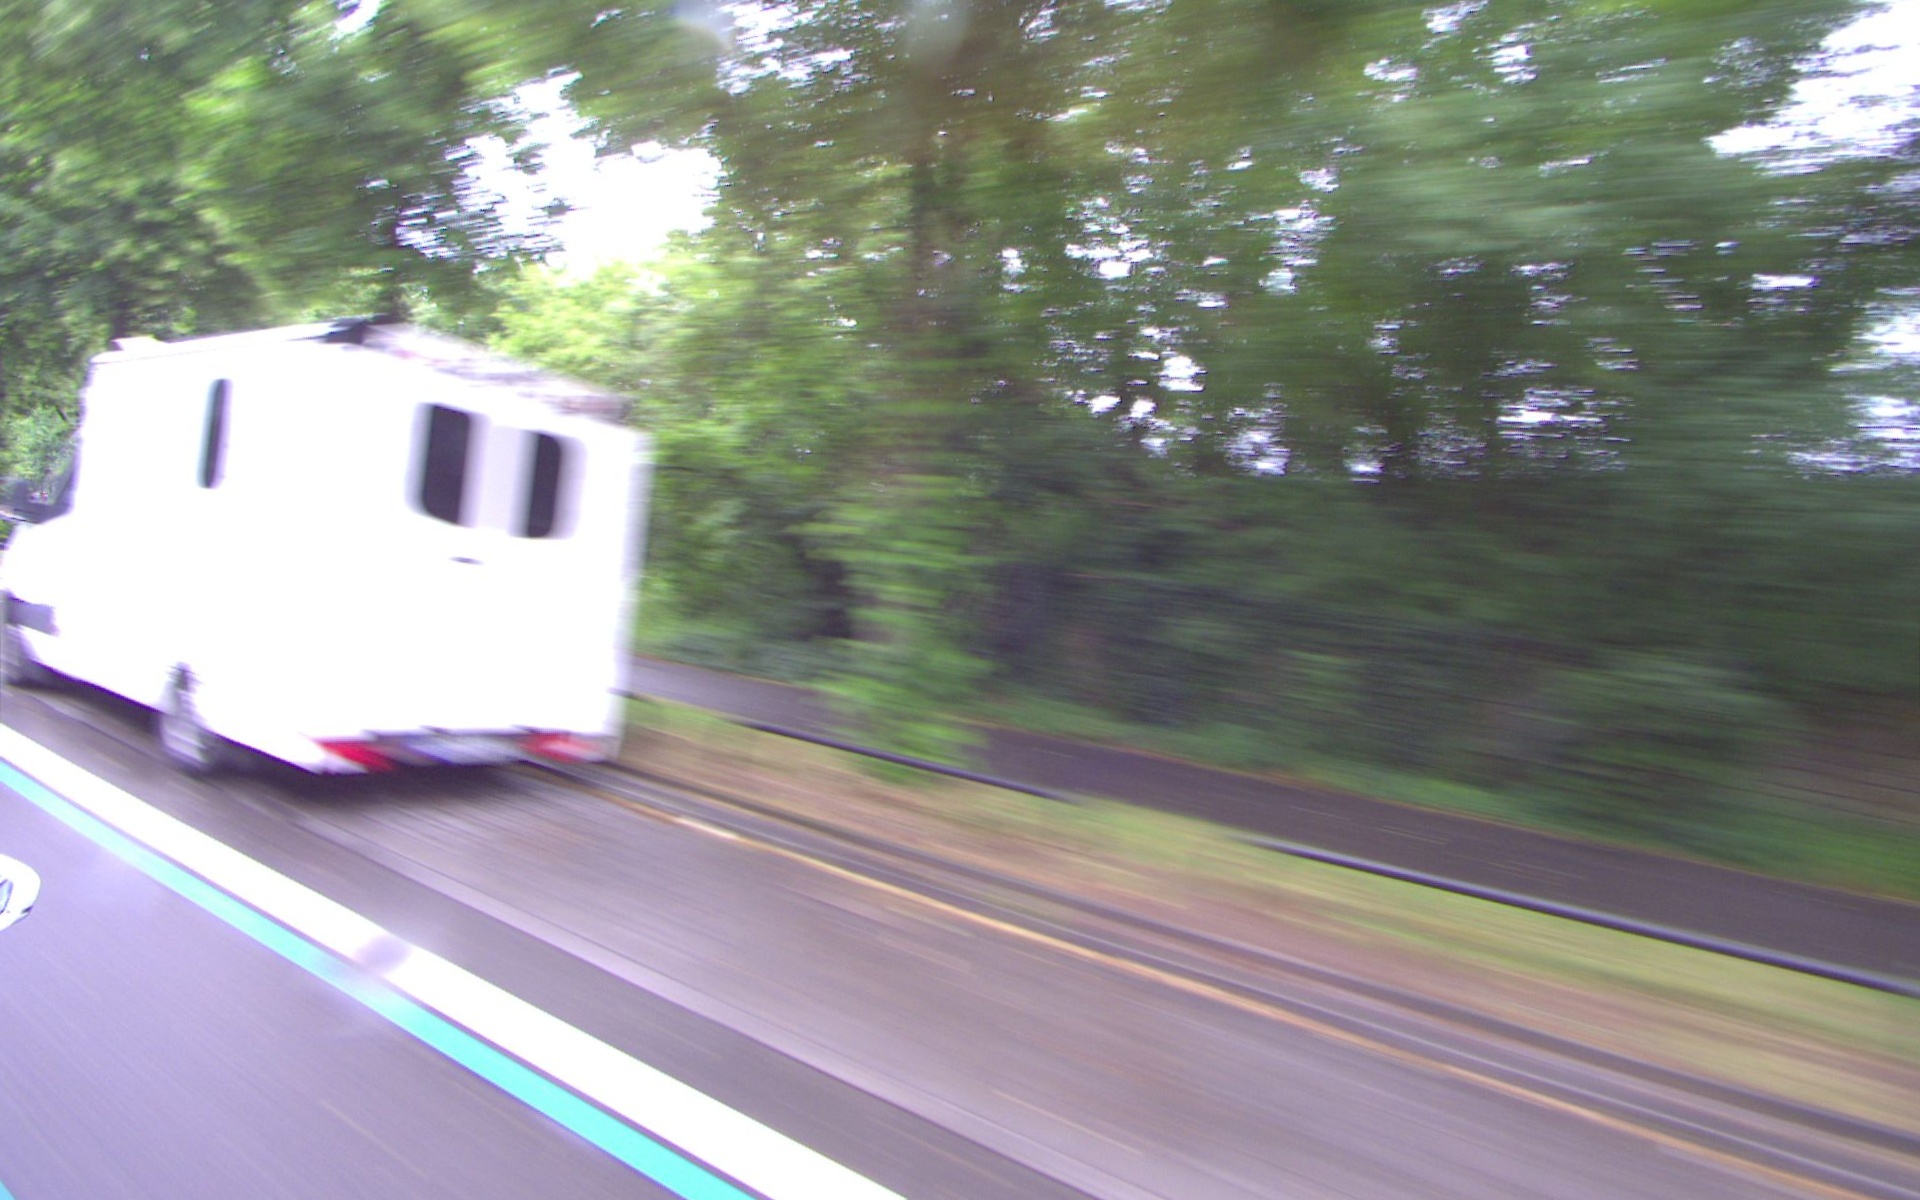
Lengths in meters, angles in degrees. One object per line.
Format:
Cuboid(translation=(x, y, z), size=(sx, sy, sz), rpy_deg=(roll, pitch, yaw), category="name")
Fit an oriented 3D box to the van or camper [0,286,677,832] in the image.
Cuboid(translation=(-5.298, -0.391, 7.685), size=(6.281, 2.696, 2.319), rpy_deg=(7, -1, 35), category="van or camper")
